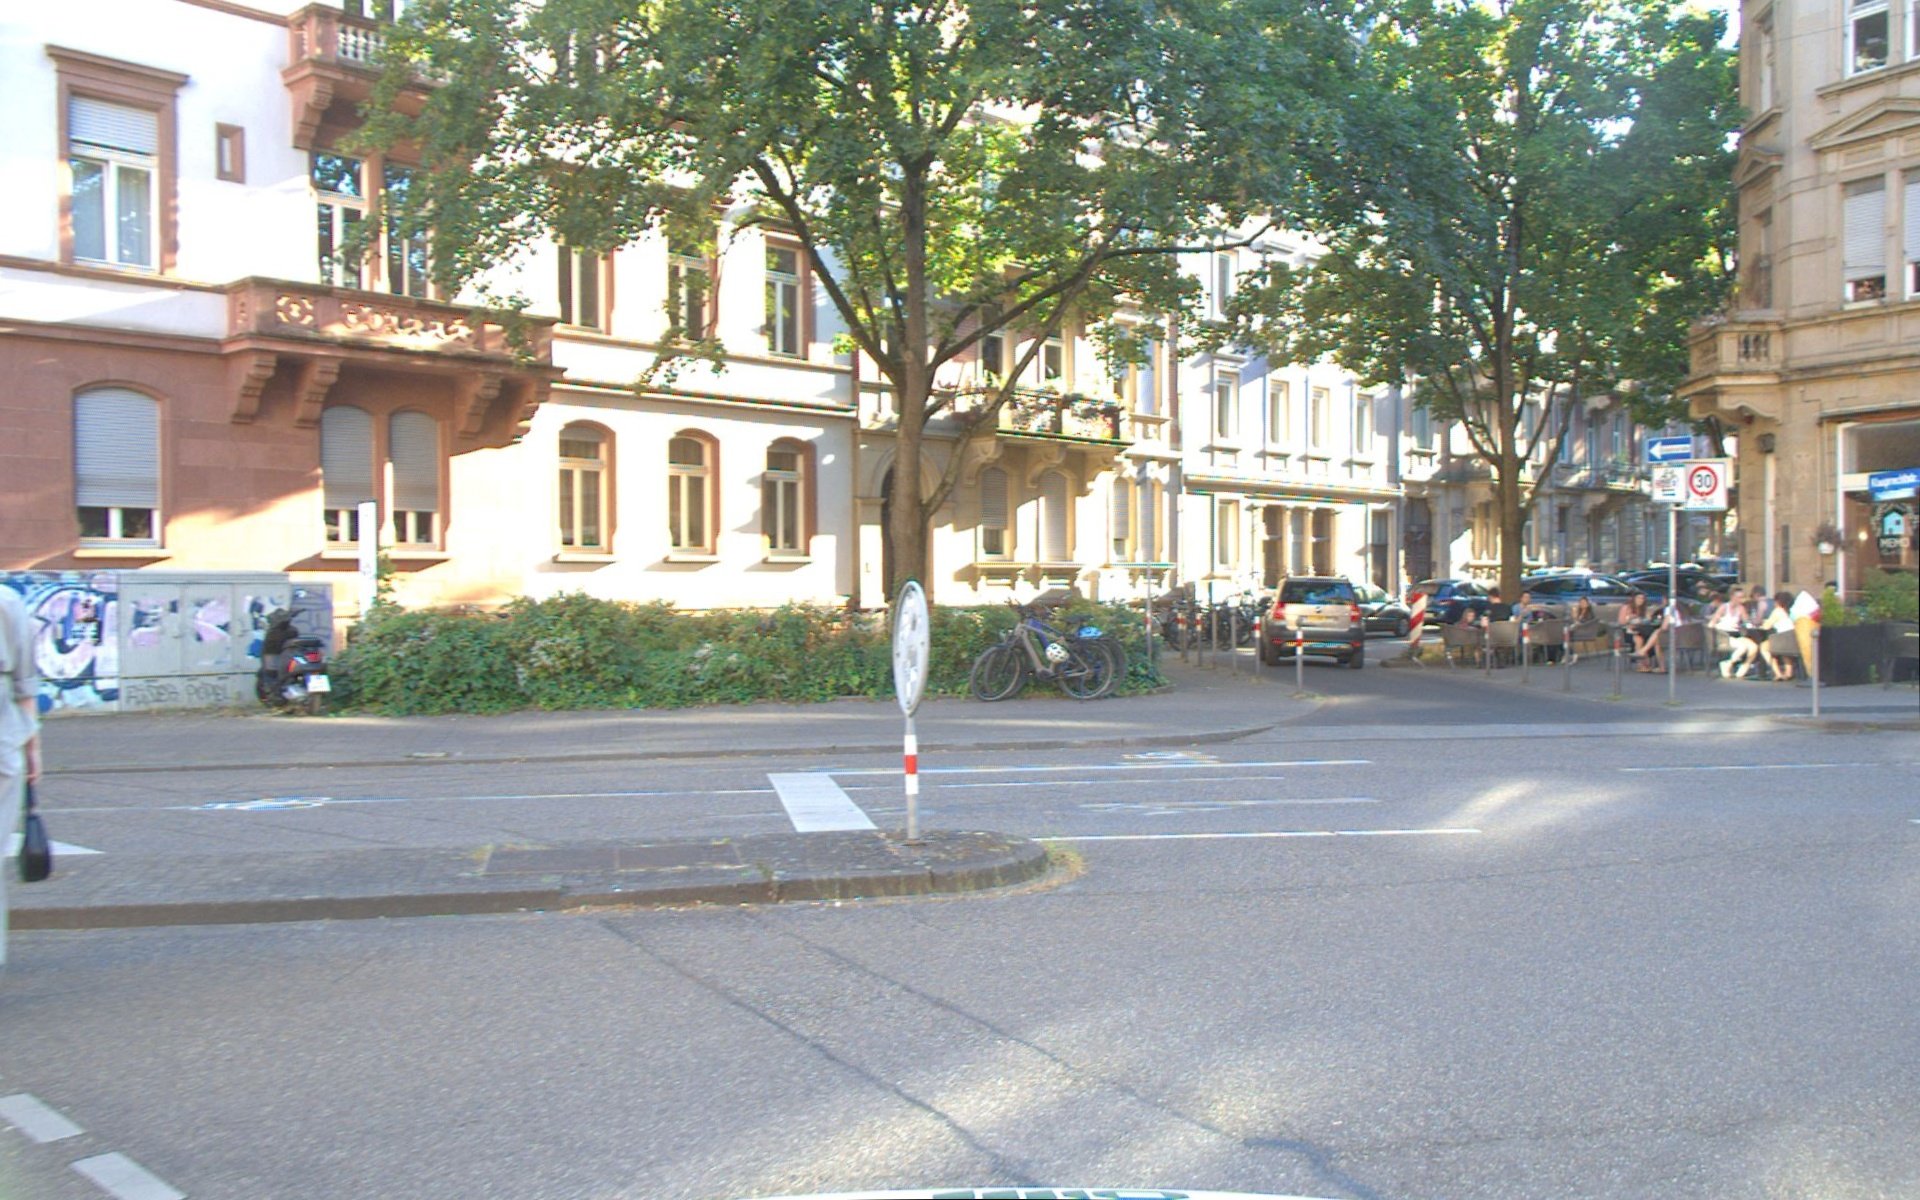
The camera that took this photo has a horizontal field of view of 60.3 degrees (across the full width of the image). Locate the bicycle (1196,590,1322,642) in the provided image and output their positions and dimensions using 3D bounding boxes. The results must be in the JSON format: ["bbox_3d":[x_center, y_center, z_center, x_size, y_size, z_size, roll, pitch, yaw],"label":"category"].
[{"bbox_3d":[7.167,0.361,39.749,3.083,1.201,0.747,0,1,44],"label":"bicycle"}]

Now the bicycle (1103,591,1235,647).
[{"bbox_3d":[4.661,0.411,37.135,3.083,1.201,0.747,0,1,44],"label":"bicycle"}]

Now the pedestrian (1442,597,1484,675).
[{"bbox_3d":[8.892,0.636,29.245,0.559,1.343,0.505,-1,0,-2],"label":"pedestrian"}]

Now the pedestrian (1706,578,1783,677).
[{"bbox_3d":[11.639,0.399,24.561,0.716,1.435,0.751,-1,0,-24],"label":"pedestrian"}]

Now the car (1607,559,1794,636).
[{"bbox_3d":[17.380,-0.059,38.827,3.909,1.713,1.998,0,0,27],"label":"car"}]

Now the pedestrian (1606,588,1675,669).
[{"bbox_3d":[10.941,0.450,26.605,0.734,1.270,0.704,-1,1,-14],"label":"pedestrian"}]

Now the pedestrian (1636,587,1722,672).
[{"bbox_3d":[11.174,0.449,25.729,0.734,1.270,1.021,-2,1,-15],"label":"pedestrian"}]

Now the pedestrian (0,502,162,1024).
[{"bbox_3d":[-3.518,0.539,5.848,0.963,1.727,0.867,0,0,32],"label":"pedestrian"}]

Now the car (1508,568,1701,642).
[{"bbox_3d":[14.248,0.111,36.768,3.742,1.589,1.805,0,0,12],"label":"car"}]

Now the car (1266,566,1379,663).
[{"bbox_3d":[6.817,0.248,31.409,1.951,1.713,4.004,-1,1,11],"label":"car"}]

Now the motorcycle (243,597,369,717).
[{"bbox_3d":[-7.560,0.618,19.055,0.834,1.287,2.083,-1,1,-37],"label":"motorcycle"}]

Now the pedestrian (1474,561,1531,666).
[{"bbox_3d":[9.432,0.232,28.763,0.749,1.801,0.572,-1,-1,0],"label":"pedestrian"}]

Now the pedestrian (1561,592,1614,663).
[{"bbox_3d":[11.131,0.490,29.351,0.661,1.237,0.668,-1,-1,-2],"label":"pedestrian"}]

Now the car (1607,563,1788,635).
[{"bbox_3d":[18.337,-0.024,41.339,3.903,1.713,2.001,0,0,17],"label":"car"}]

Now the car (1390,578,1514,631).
[{"bbox_3d":[13.861,0.107,46.510,1.896,1.400,3.727,0,1,43],"label":"car"}]

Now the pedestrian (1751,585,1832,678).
[{"bbox_3d":[11.958,0.443,23.794,0.730,1.312,0.740,-1,0,-22],"label":"pedestrian"}]

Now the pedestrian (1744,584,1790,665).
[{"bbox_3d":[12.857,0.378,26.349,0.425,1.270,0.480,-1,0,-14],"label":"pedestrian"}]

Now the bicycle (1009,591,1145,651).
[{"bbox_3d":[2.429,0.422,34.710,3.083,1.201,0.747,0,1,44],"label":"bicycle"}]

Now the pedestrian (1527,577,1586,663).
[{"bbox_3d":[10.408,0.343,28.860,0.749,1.467,0.668,-1,-1,0],"label":"pedestrian"}]

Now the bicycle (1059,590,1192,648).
[{"bbox_3d":[3.569,0.396,35.950,3.083,1.201,0.747,0,1,44],"label":"bicycle"}]

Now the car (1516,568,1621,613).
[{"bbox_3d":[19.701,-0.324,53.474,1.896,1.400,3.727,0,1,43],"label":"car"}]

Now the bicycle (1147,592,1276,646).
[{"bbox_3d":[5.802,0.429,38.321,3.083,1.201,0.747,0,1,44],"label":"bicycle"}]

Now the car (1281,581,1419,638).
[{"bbox_3d":[10.129,0.217,42.872,1.896,1.400,3.727,0,1,43],"label":"car"}]

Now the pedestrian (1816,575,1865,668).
[{"bbox_3d":[13.501,0.323,25.369,0.426,1.391,0.479,-2,0,-20],"label":"pedestrian"}]

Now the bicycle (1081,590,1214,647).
[{"bbox_3d":[4.109,0.402,36.519,3.083,1.201,0.747,0,1,44],"label":"bicycle"}]

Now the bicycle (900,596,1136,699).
[{"bbox_3d":[0.726,0.576,20.673,2.894,1.217,0.547,-1,0,-9],"label":"bicycle"}]

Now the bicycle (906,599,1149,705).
[{"bbox_3d":[0.810,0.614,20.085,2.894,1.217,0.547,-1,0,-9],"label":"bicycle"}]

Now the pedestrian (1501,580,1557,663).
[{"bbox_3d":[10.276,0.391,29.883,0.749,1.467,0.668,-1,-1,0],"label":"pedestrian"}]

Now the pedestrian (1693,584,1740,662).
[{"bbox_3d":[12.490,0.375,27.312,0.500,1.270,0.480,-1,0,-14],"label":"pedestrian"}]

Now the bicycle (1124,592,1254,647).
[{"bbox_3d":[5.197,0.419,37.739,3.083,1.201,0.747,0,1,44],"label":"bicycle"}]

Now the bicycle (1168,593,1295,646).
[{"bbox_3d":[6.364,0.438,38.946,3.083,1.201,0.747,0,1,44],"label":"bicycle"}]

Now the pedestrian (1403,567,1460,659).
[{"bbox_3d":[8.839,0.243,31.031,0.751,1.699,0.665,-1,-1,-14],"label":"pedestrian"}]

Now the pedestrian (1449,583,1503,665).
[{"bbox_3d":[9.359,0.433,30.009,0.749,1.437,0.668,-1,-1,2],"label":"pedestrian"}]
